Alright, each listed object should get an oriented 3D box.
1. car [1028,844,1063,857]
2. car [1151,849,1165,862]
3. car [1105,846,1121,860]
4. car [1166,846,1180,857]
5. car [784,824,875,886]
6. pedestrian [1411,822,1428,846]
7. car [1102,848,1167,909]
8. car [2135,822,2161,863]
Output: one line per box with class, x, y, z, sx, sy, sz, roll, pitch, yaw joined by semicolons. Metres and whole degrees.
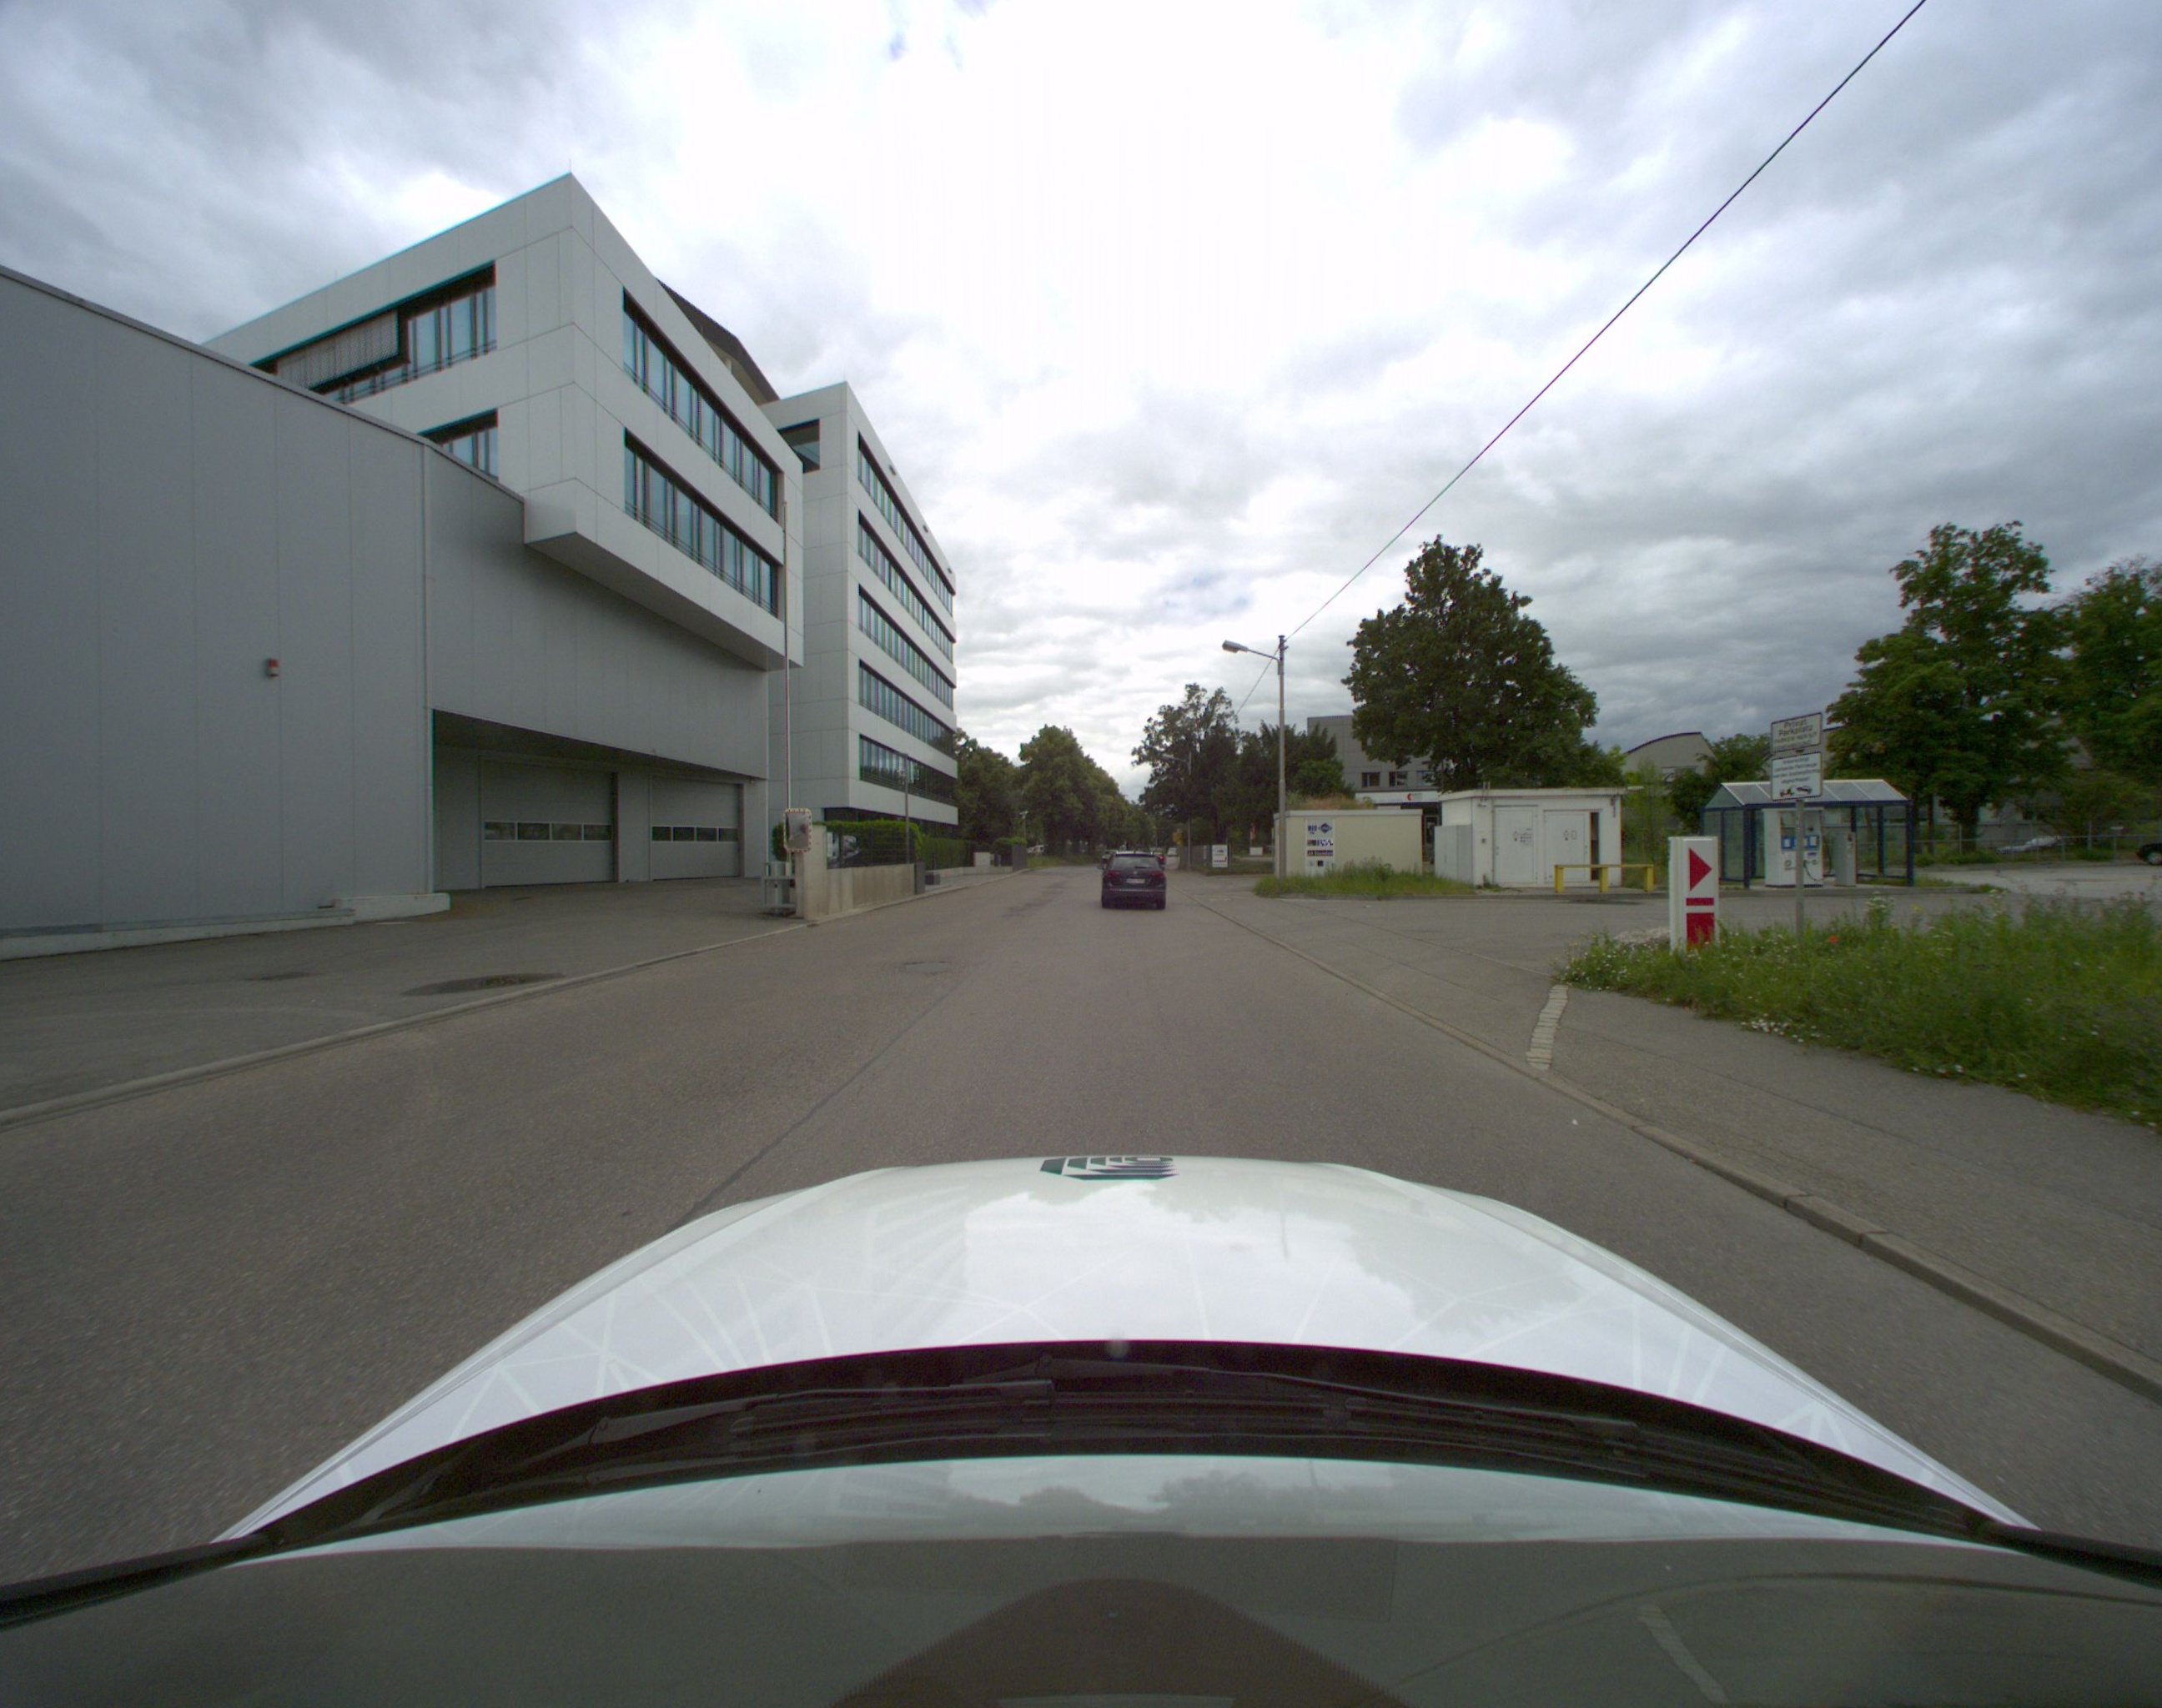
car;-6.538;-0.604;150.372;6.043;2.387;2.398;-1;1;4
car;9.825;0.152;104.066;1.652;1.574;3.832;-1;0;3
car;4.200;-0.180;107.543;1.799;1.764;4.212;1;0;6
car;16.444;-0.461;145.734;1.980;1.786;4.014;0;0;12
car;-7.659;0.017;25.099;1.643;1.761;3.182;1;0;3
pedestrian;25.372;-1.489;60.977;0.909;1.752;0.802;-1;0;42
car;1.594;0.671;24.079;1.731;1.618;3.645;1;0;4
car;41.127;-0.454;29.215;1.725;1.530;3.887;-1;0;3
